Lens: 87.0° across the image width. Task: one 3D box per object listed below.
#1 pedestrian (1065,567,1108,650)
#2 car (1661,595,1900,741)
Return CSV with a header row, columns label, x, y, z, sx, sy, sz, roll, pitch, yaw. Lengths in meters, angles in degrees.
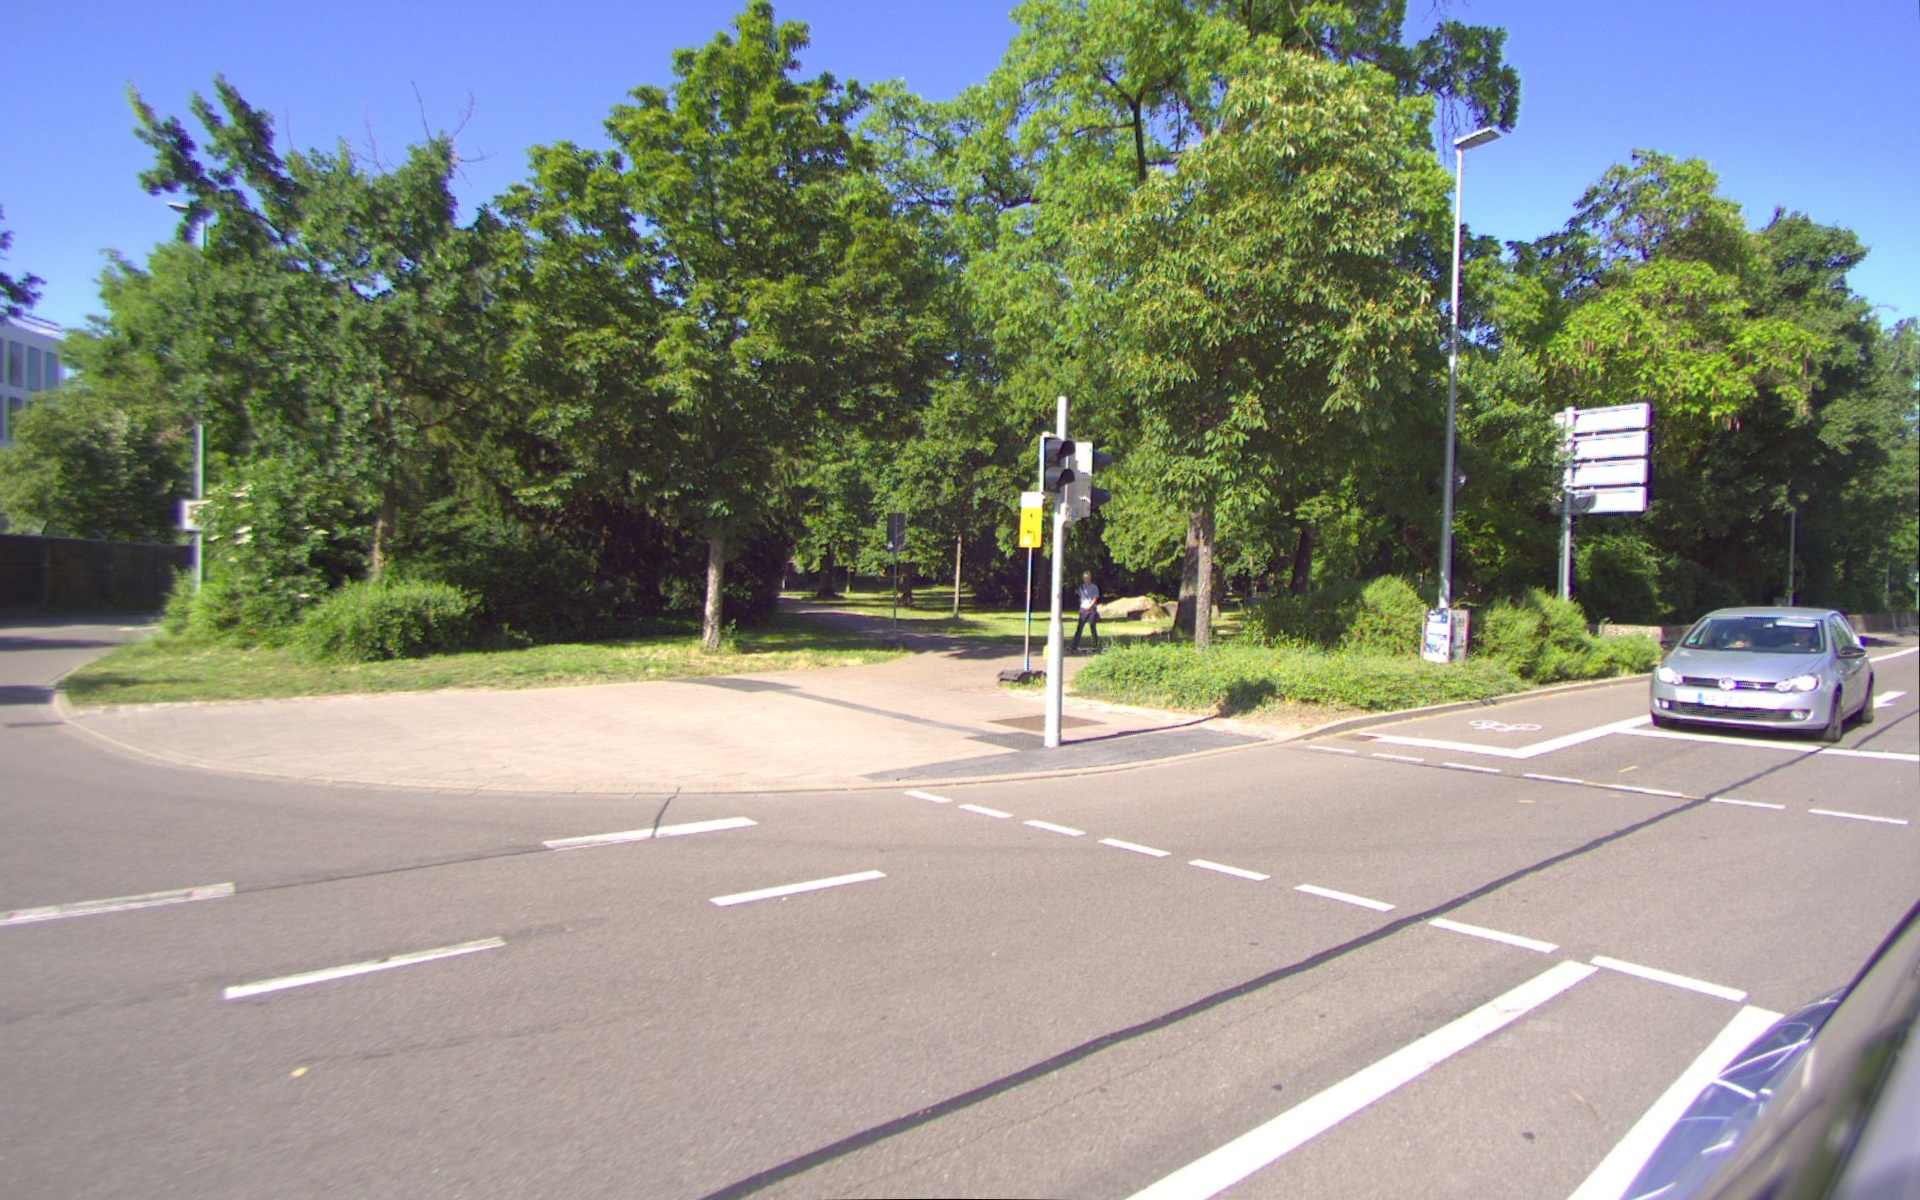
label,x,y,z,sx,sy,sz,roll,pitch,yaw
pedestrian,2.693,0.172,21.466,0.729,1.724,0.869,1,0,20
car,10.201,0.701,12.487,3.931,1.493,1.701,0,1,-42
